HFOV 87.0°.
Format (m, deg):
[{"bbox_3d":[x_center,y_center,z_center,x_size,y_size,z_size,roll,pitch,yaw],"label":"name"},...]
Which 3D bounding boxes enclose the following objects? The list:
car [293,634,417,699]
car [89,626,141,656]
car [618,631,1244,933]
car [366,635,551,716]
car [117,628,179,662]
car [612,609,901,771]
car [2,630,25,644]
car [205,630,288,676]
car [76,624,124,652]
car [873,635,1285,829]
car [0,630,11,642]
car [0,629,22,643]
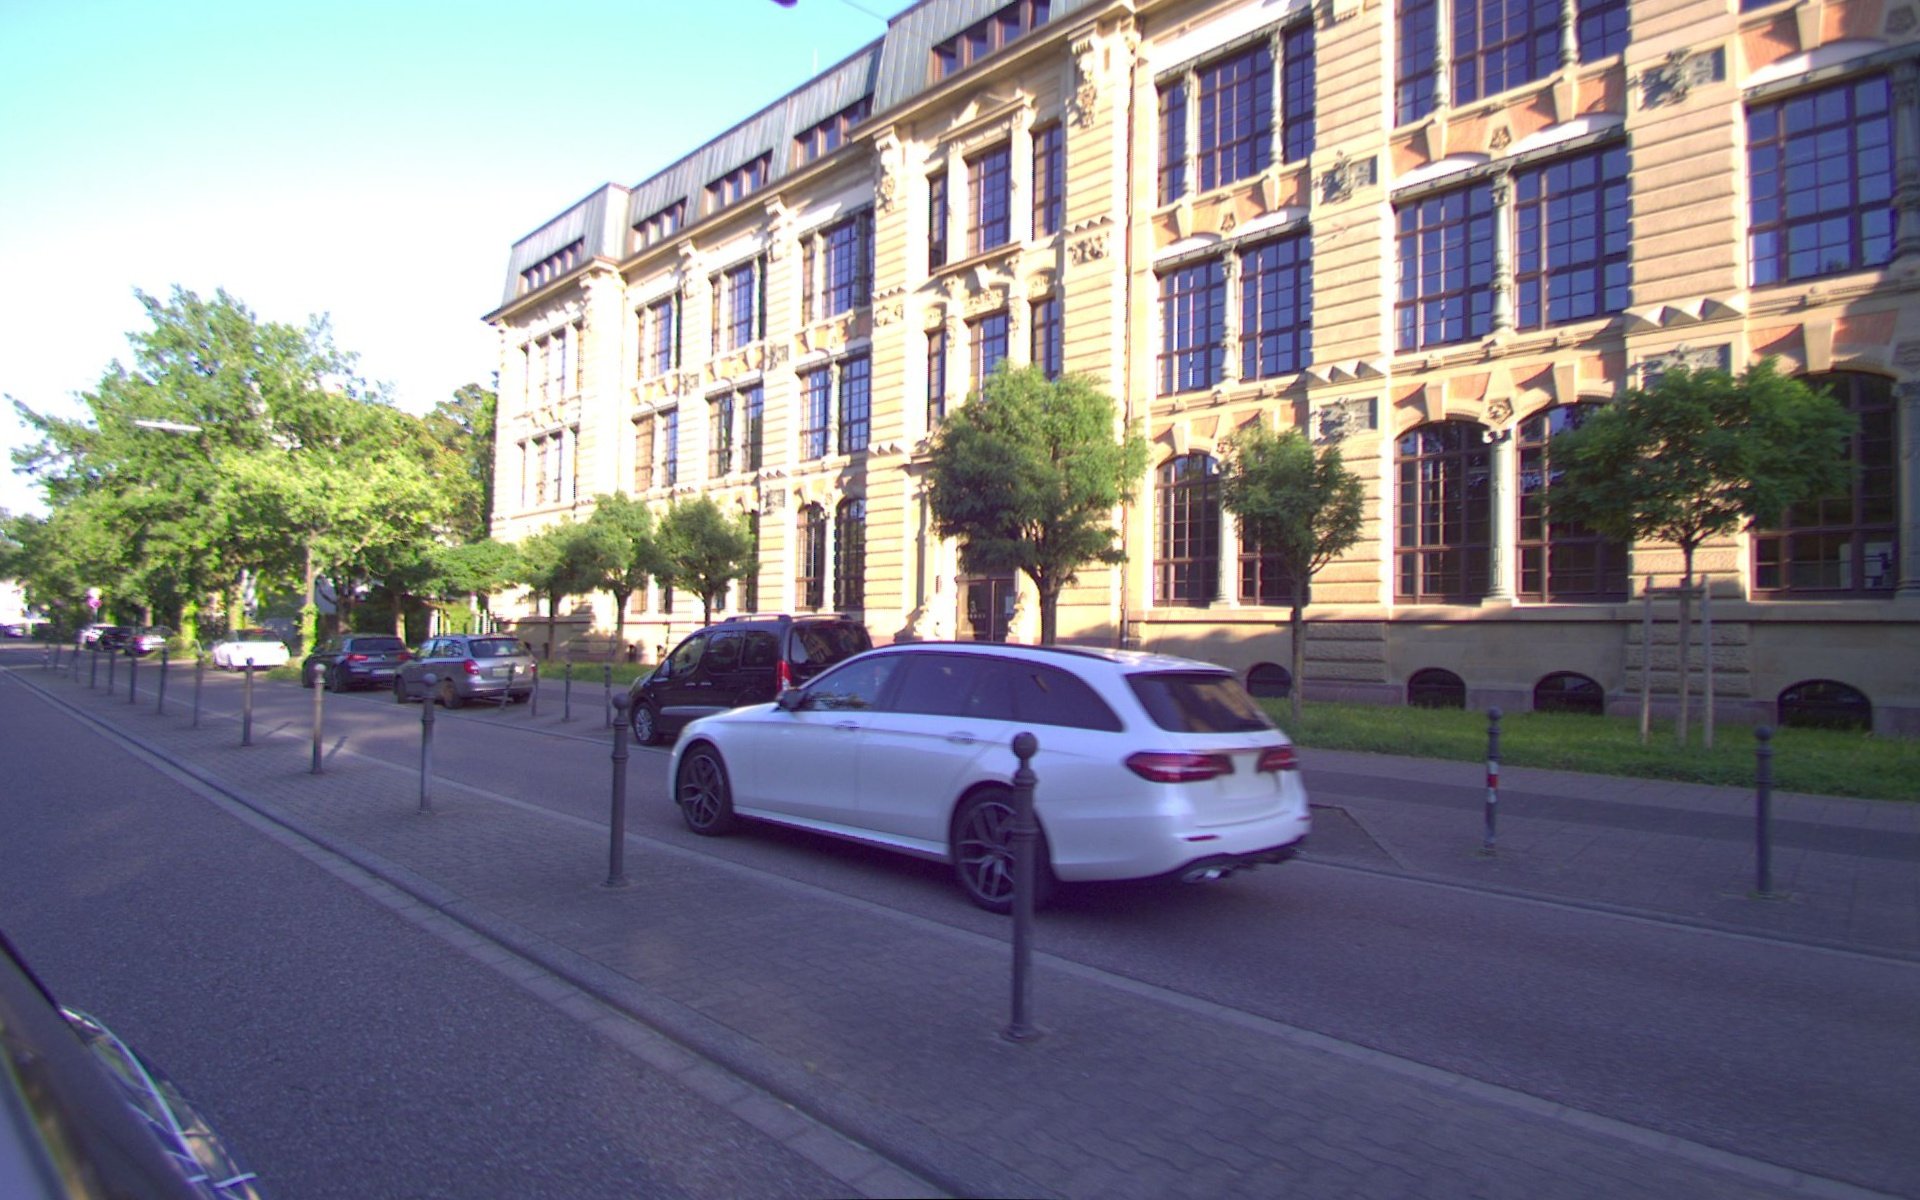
[{"bbox_3d":[-15.664,1.649,26.096,4.378,1.507,1.600,-1,-3,44],"label":"car"},{"bbox_3d":[-47.429,2.290,56.797,4.148,1.628,1.760,-1,-3,44],"label":"car"},{"bbox_3d":[-0.492,0.998,7.279,4.624,1.469,1.722,-1,-4,43],"label":"car"},{"bbox_3d":[-10.706,1.527,21.504,4.368,1.507,1.703,-1,-1,36],"label":"car"},{"bbox_3d":[-39.716,2.170,49.453,4.865,1.522,1.782,-1,-3,45],"label":"car"},{"bbox_3d":[-2.930,1.104,13.939,4.333,1.880,1.757,-2,-1,44],"label":"car"},{"bbox_3d":[-108.878,4.262,116.419,4.109,1.494,1.752,-2,-3,44],"label":"car"},{"bbox_3d":[-24.867,1.825,35.244,3.925,1.507,1.600,-1,-3,44],"label":"car"},{"bbox_3d":[-53.268,2.338,62.668,4.148,1.628,1.783,-1,-3,44],"label":"car"},{"bbox_3d":[1.017,1.116,10.032,1.677,1.481,3.857,0,-1,-45],"label":"car"},{"bbox_3d":[-130.106,4.900,137.329,4.109,1.580,1.752,-2,-3,44],"label":"car"},{"bbox_3d":[-113.270,4.316,120.701,4.109,1.580,1.752,-2,-3,44],"label":"car"}]
